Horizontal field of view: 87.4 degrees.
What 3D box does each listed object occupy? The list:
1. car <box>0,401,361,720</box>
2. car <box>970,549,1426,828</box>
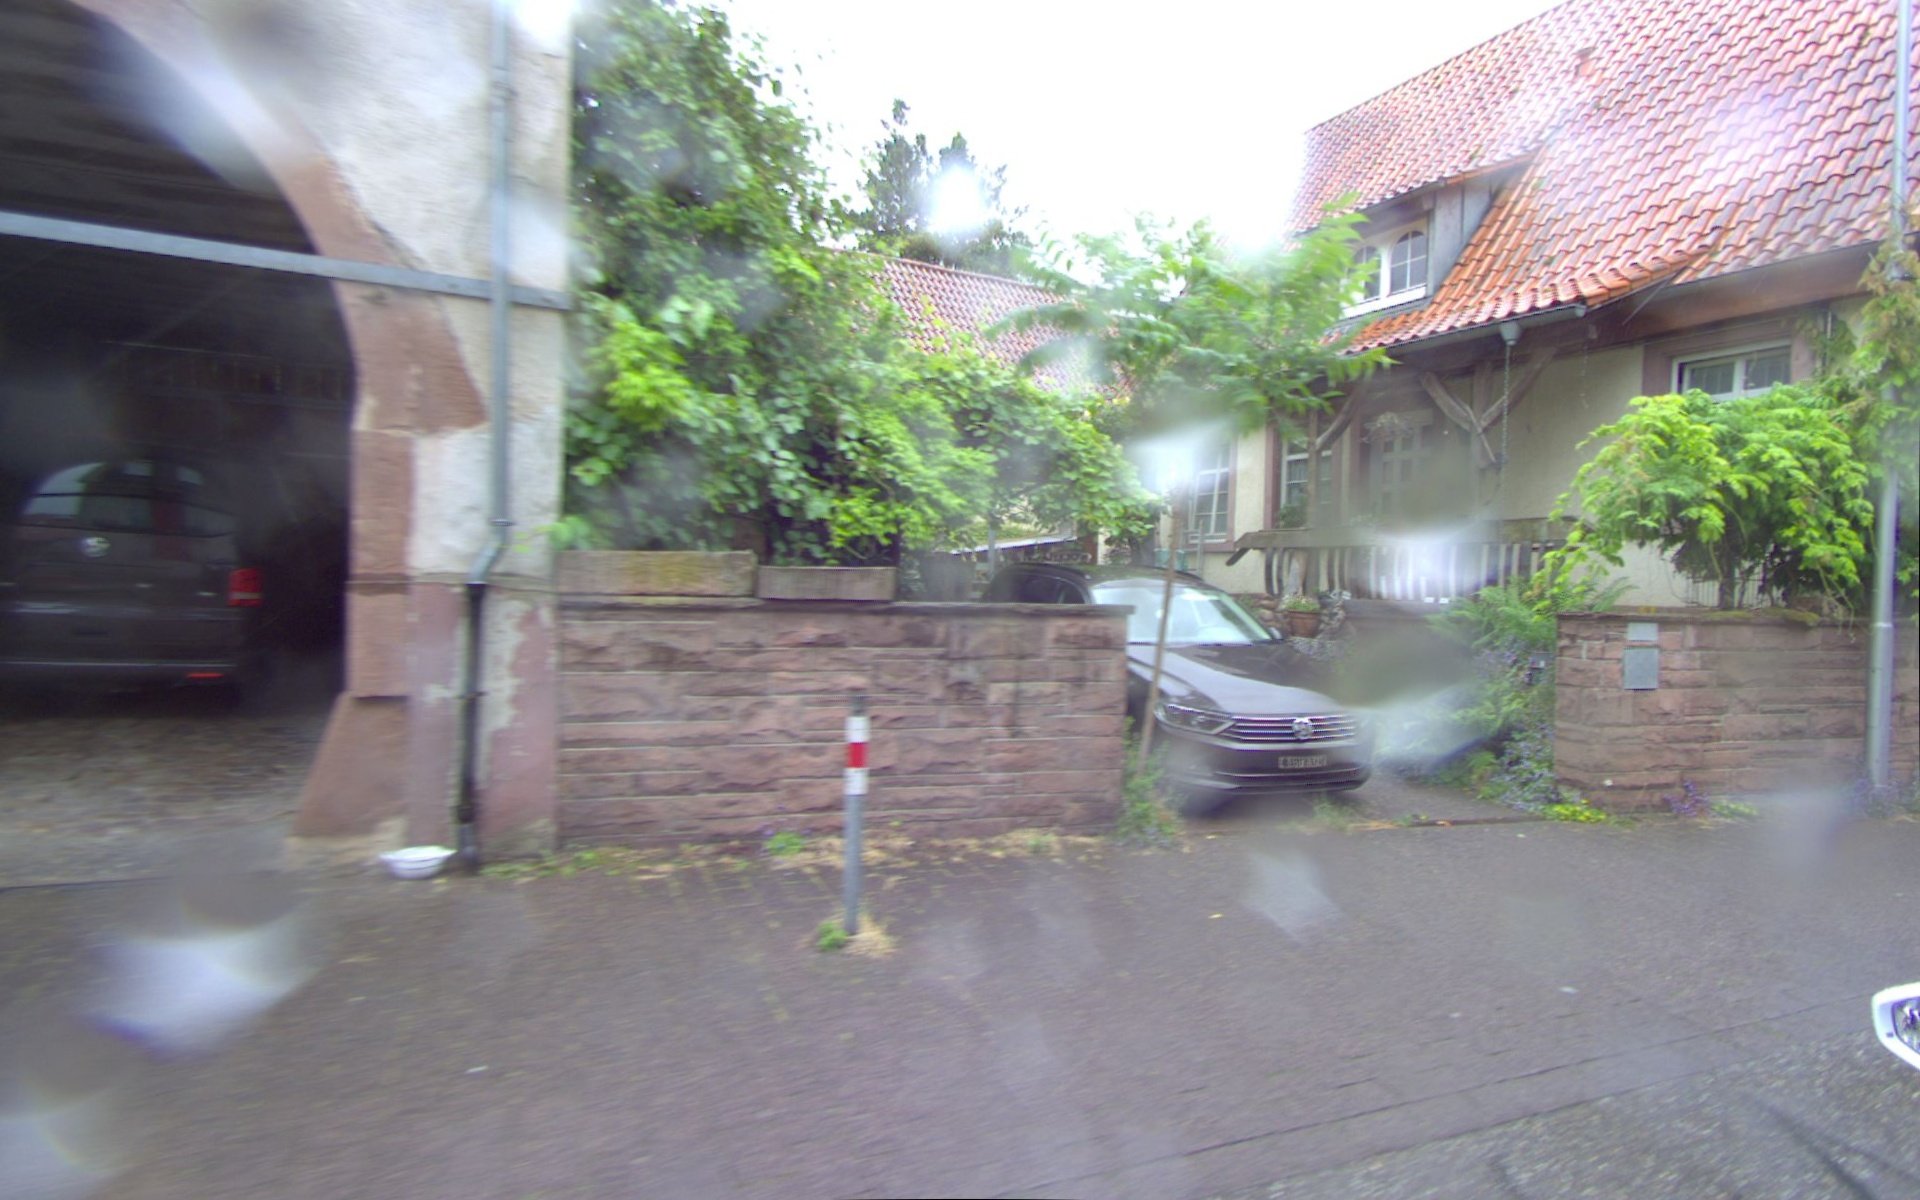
[{"bbox_3d":[-6.311,-0.432,8.263,1.860,1.959,4.213,1,5,-24],"label":"car"},{"bbox_3d":[1.519,0.462,8.050,1.708,1.445,3.984,2,5,-17],"label":"car"}]
